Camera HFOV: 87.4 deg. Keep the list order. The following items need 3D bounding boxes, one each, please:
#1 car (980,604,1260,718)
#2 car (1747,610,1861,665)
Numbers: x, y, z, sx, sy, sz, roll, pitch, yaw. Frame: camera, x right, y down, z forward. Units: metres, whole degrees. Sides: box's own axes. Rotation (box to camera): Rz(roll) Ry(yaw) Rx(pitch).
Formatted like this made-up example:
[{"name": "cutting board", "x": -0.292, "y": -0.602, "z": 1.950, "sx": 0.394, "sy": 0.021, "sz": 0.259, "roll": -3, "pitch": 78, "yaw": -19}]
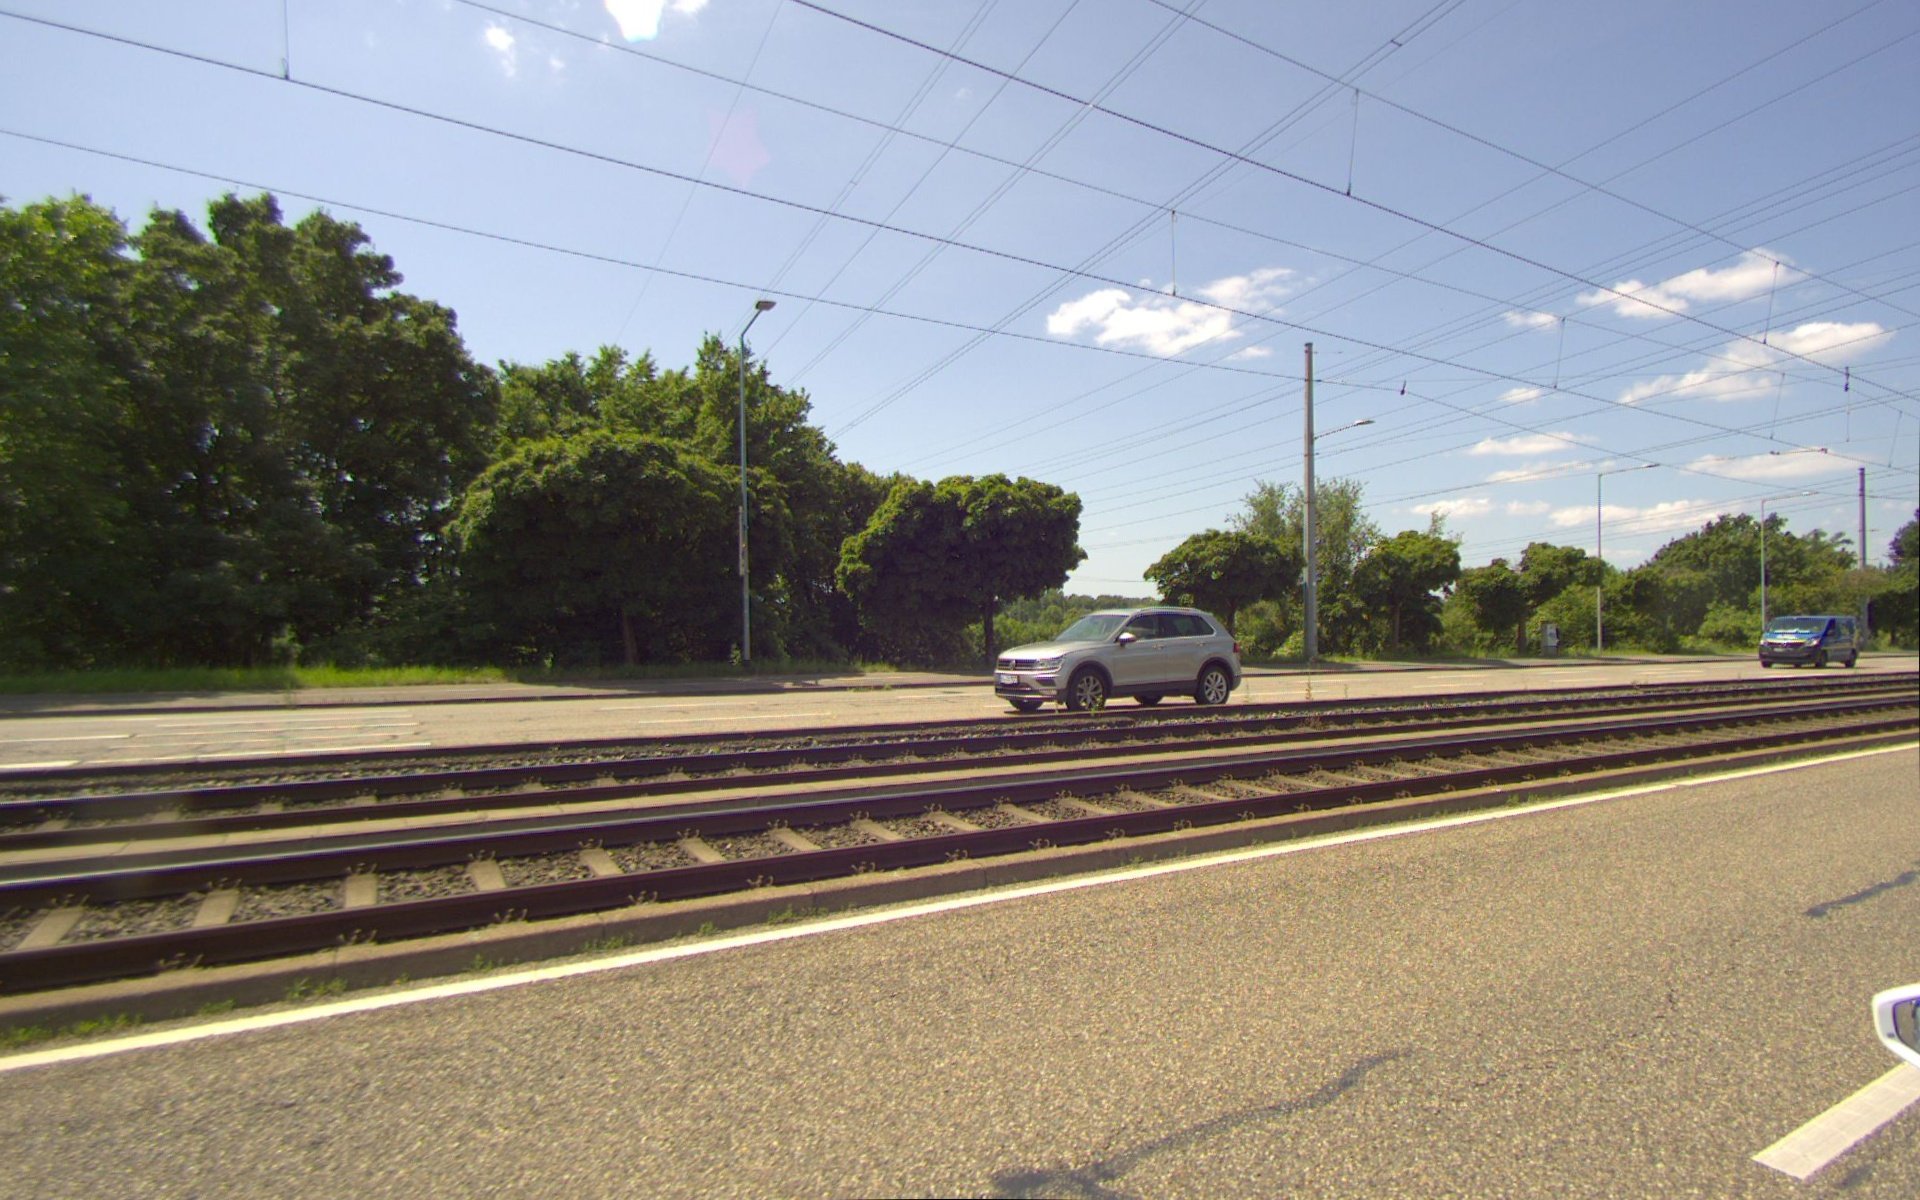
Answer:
[{"name": "car", "x": 2.676, "y": 0.945, "z": 16.420, "sx": 4.443, "sy": 1.646, "sz": 1.792, "roll": 1, "pitch": -2, "yaw": -32}, {"name": "car", "x": 32.112, "y": 1.427, "z": 38.182, "sx": 4.951, "sy": 1.953, "sz": 1.848, "roll": 1, "pitch": -2, "yaw": -32}]
